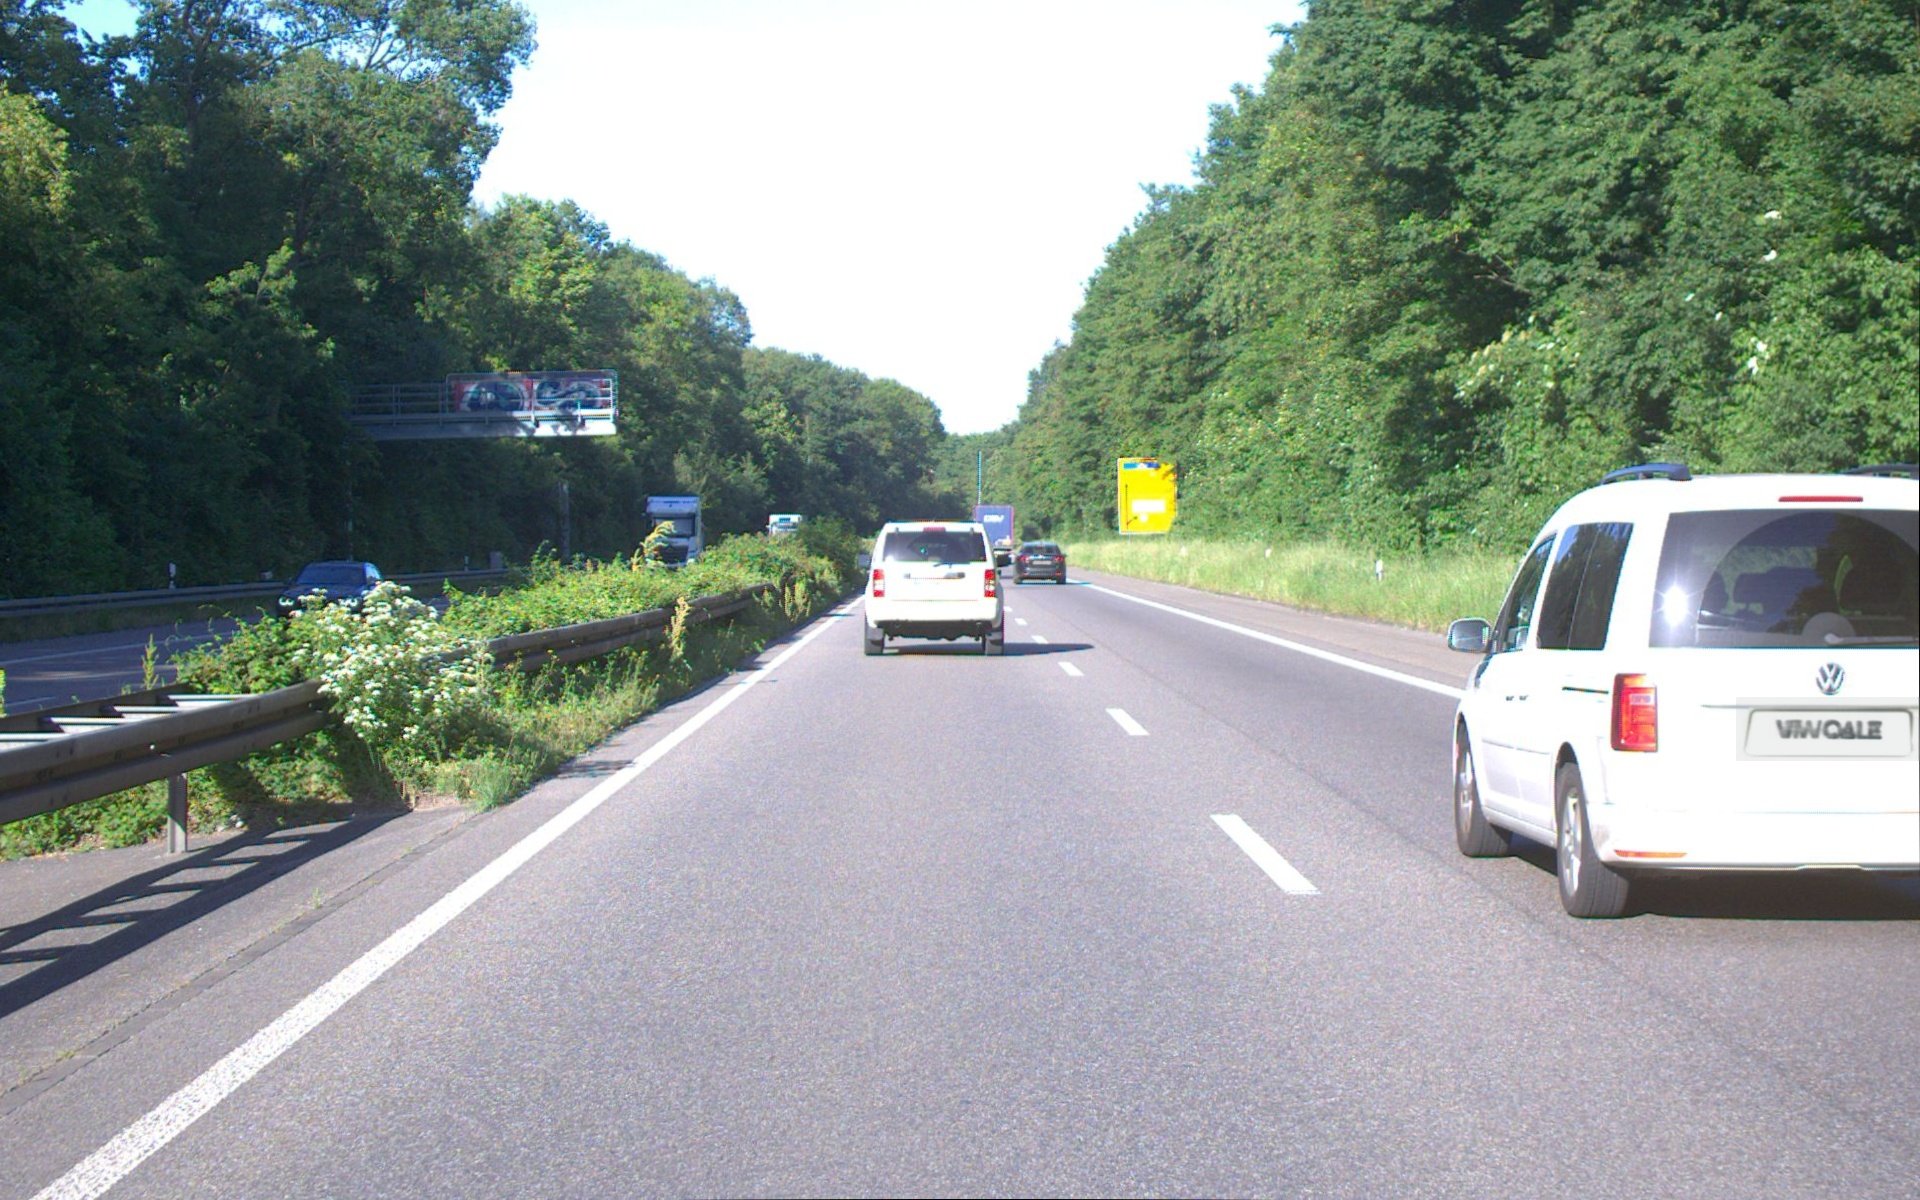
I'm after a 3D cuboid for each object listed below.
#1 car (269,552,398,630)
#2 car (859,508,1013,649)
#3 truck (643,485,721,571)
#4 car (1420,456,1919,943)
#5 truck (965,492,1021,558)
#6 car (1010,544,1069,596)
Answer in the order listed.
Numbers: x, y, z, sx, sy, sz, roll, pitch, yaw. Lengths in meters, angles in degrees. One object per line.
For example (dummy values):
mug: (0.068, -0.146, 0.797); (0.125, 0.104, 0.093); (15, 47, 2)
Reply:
car: (-12.409, -0.202, 68.330); (1.733, 1.404, 4.556); (1, 2, 0)
car: (-0.333, -0.301, 46.450); (1.951, 1.776, 4.588); (1, 1, -1)
truck: (-13.287, -3.410, 165.096); (2.769, 3.942, 11.467); (1, 1, 0)
car: (3.271, 0.355, 15.155); (1.799, 1.807, 4.588); (1, 1, -1)
truck: (2.214, -5.078, 235.121); (3.734, 4.328, 9.304); (1, 1, 0)
car: (2.816, -1.068, 122.847); (1.951, 1.776, 4.588); (1, 1, -1)
